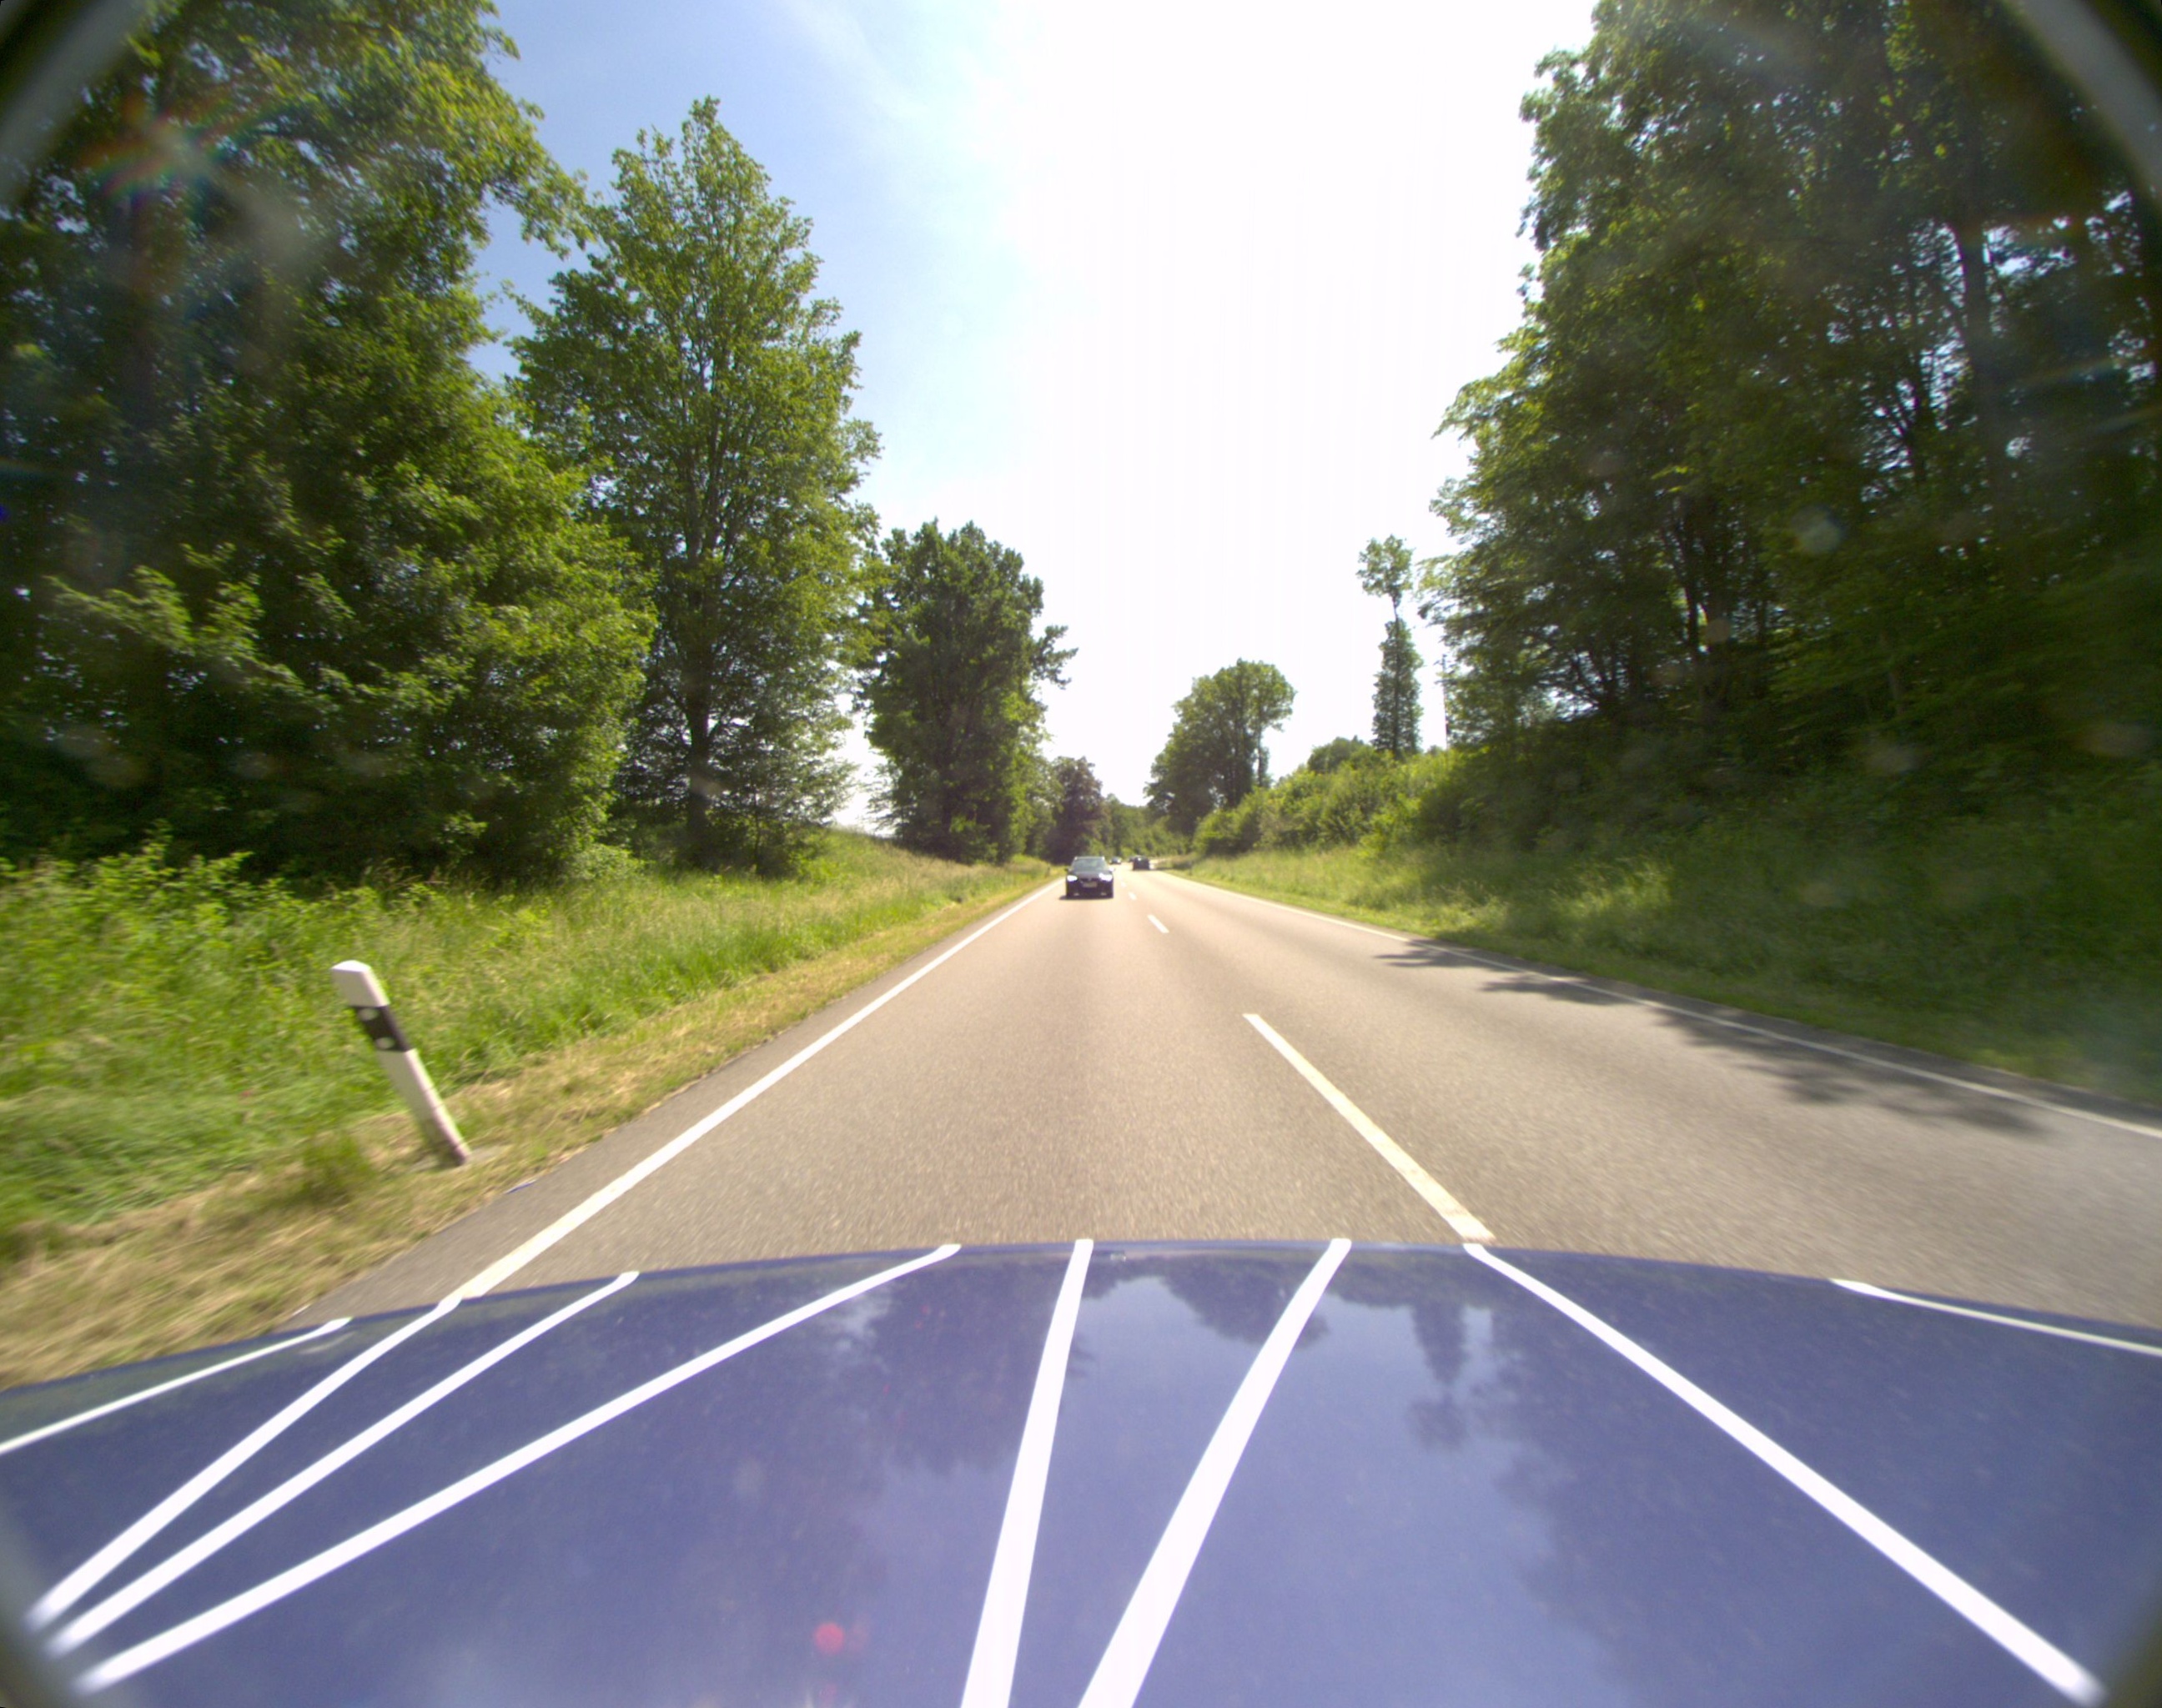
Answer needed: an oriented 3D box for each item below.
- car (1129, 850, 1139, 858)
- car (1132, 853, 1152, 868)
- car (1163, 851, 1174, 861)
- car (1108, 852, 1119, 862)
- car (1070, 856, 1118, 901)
[{"bbox_3d":[11.374,0.019,161.924,1.811,1.580,4.002,-1,0,8],"label":"car"},{"bbox_3d":[6.354,0.651,79.317,1.776,1.561,4.218,-1,0,2],"label":"car"},{"bbox_3d":[17.676,0.318,153.382,1.998,2.002,4.001,-1,0,5],"label":"car"},{"bbox_3d":[5.497,0.495,128.693,1.811,1.580,4.001,-1,0,3],"label":"car"},{"bbox_3d":[0.528,0.863,28.618,1.661,1.531,3.487,-2,0,2],"label":"car"}]
